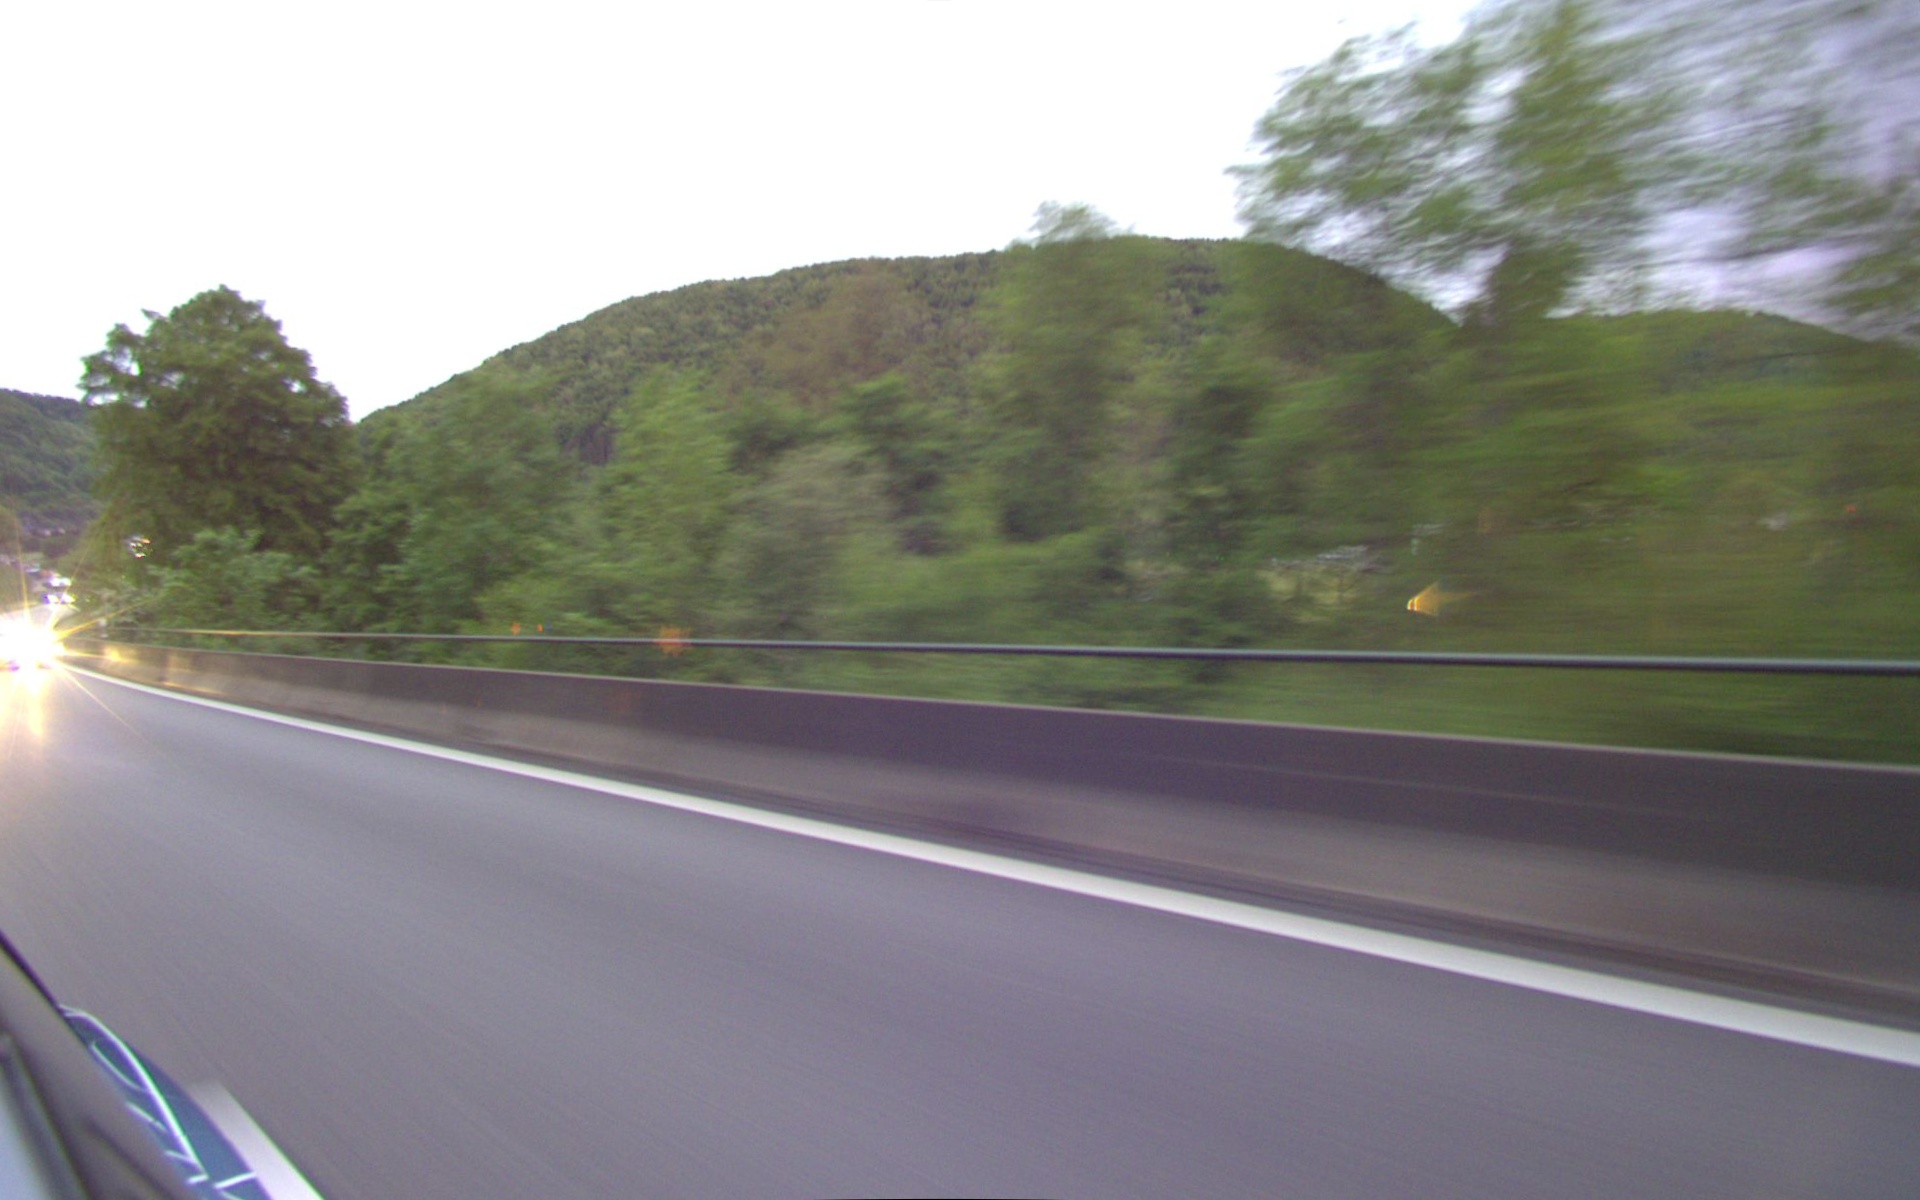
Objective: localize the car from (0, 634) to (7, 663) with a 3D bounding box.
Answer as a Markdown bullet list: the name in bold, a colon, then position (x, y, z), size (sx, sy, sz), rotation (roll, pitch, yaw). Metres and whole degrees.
- **car**: position (-51.041, 2.553, 52.800), size (3.669, 1.444, 1.667), rotation (-1, 0, 43)

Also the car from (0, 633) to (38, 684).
- **car**: position (-30.209, 1.815, 31.754), size (3.769, 1.479, 1.667), rotation (-1, 0, 44)
